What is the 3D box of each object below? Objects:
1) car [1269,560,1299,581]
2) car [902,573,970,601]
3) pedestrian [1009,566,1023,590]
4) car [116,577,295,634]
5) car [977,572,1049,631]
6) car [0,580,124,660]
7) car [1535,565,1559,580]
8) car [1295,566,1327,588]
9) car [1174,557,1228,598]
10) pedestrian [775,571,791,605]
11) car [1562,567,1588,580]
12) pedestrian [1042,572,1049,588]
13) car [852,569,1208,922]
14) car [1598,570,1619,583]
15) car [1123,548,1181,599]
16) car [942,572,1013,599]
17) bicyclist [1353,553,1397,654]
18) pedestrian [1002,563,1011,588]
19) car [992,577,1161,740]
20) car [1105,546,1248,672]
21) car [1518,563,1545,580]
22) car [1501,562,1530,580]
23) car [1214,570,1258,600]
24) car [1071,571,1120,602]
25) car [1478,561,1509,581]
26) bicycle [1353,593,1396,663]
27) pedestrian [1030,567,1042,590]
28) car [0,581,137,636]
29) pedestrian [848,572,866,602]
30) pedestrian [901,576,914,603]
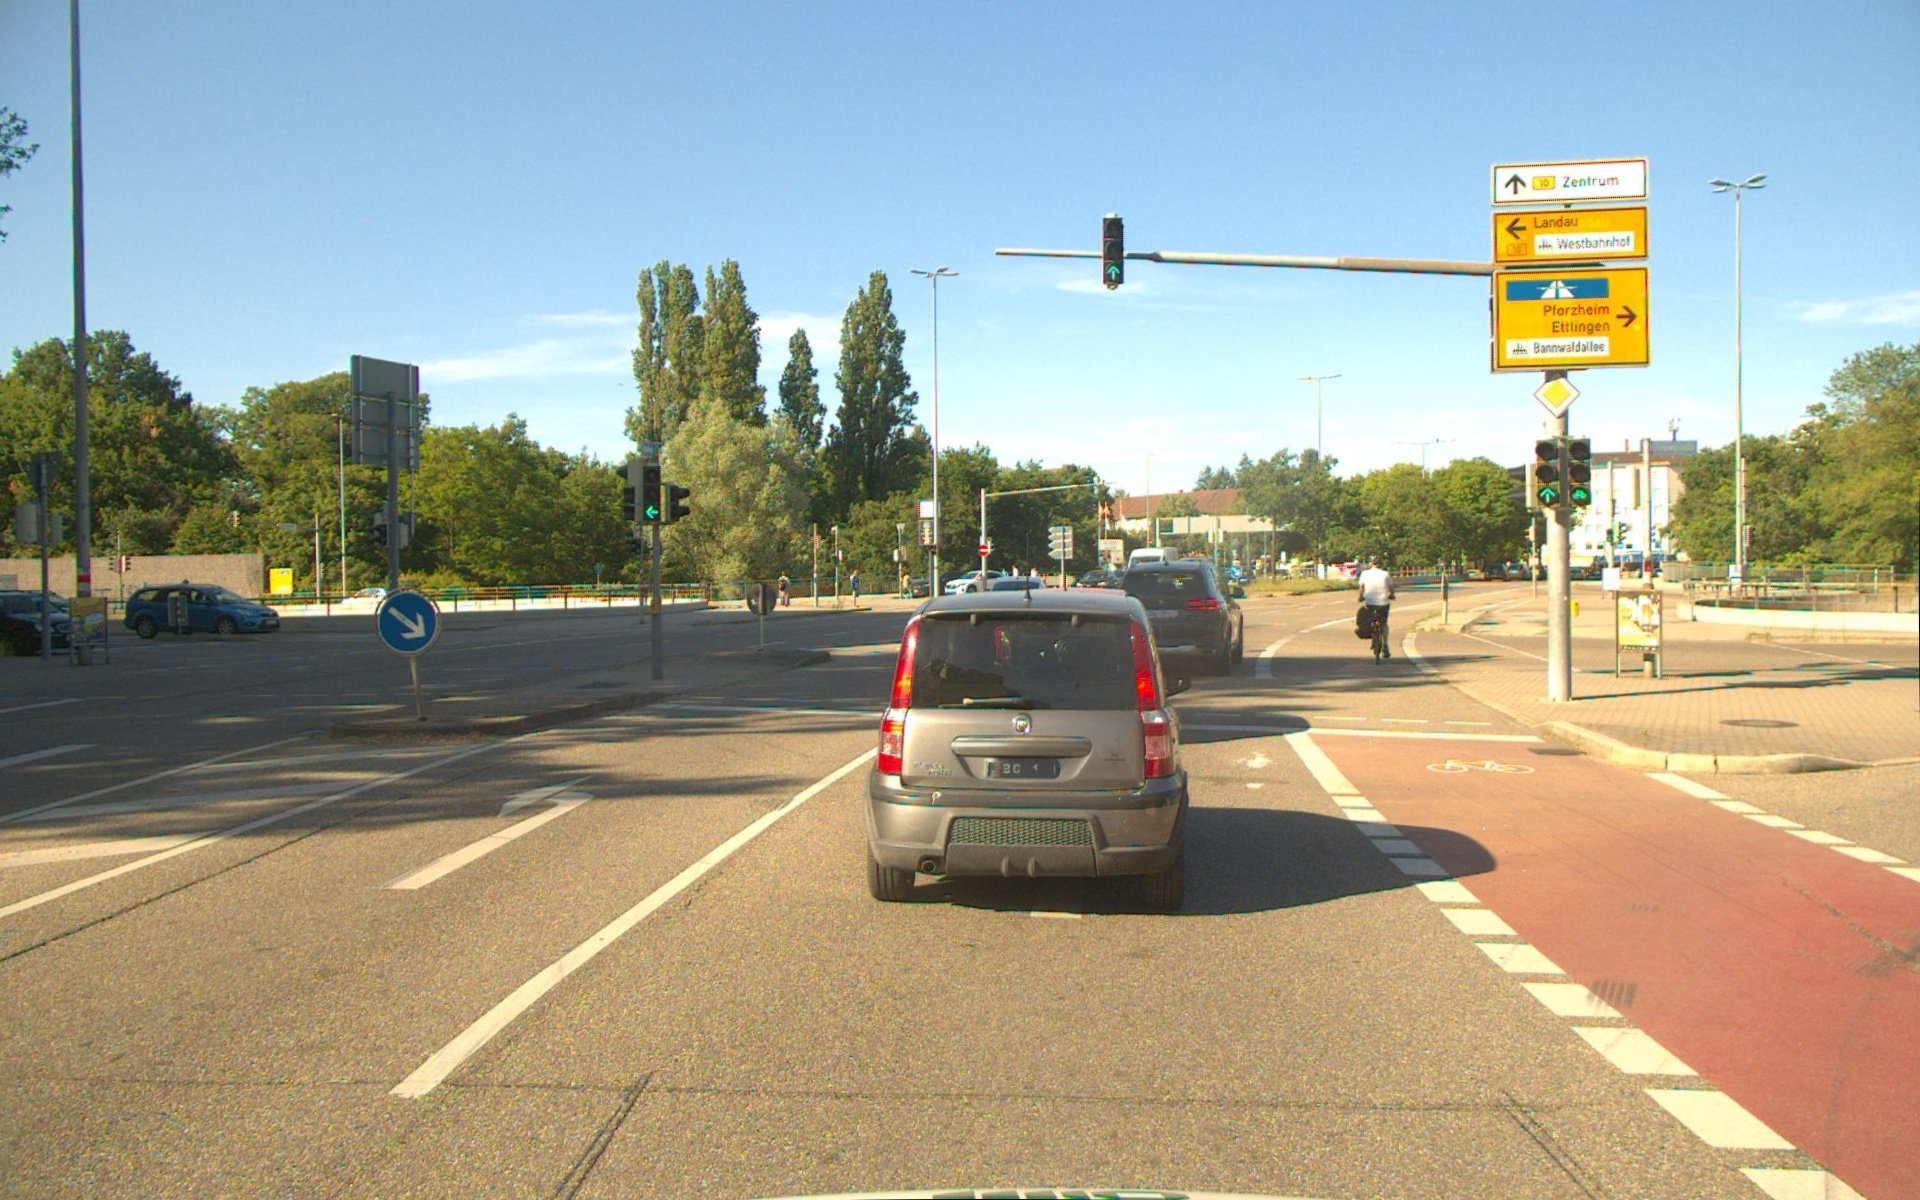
[{"bbox_3d":[30.969,-2.828,158.052,1.954,1.847,3.997,1,-1,25],"label":"car"},{"bbox_3d":[-1.455,-0.789,102.230,3.963,1.654,1.873,1,-1,-41],"label":"car"},{"bbox_3d":[4.011,-1.547,118.694,0.777,1.693,0.626,0,-1,41],"label":"pedestrian"},{"bbox_3d":[-21.702,0.138,47.657,4.348,1.567,1.953,0,1,11],"label":"car"},{"bbox_3d":[1.351,-0.004,43.577,1.744,1.439,4.319,-1,1,0],"label":"car"},{"bbox_3d":[-21.793,0.403,37.768,4.668,1.649,1.953,1,1,14],"label":"car"},{"bbox_3d":[61.445,-2.855,173.215,1.907,1.555,4.093,0,1,26],"label":"car"},{"bbox_3d":[27.988,-1.840,131.845,1.896,1.650,4.507,0,1,19],"label":"car"},{"bbox_3d":[12.496,-1.185,85.486,1.896,2.043,4.934,0,1,18],"label":"car"},{"bbox_3d":[-7.774,-0.538,72.774,0.666,1.488,0.702,-1,1,-8],"label":"pedestrian"},{"bbox_3d":[72.855,-3.151,195.874,1.912,1.555,4.084,0,1,35],"label":"car"},{"bbox_3d":[6.345,-1.480,123.212,0.415,1.156,0.397,1,-1,23],"label":"pedestrian"},{"bbox_3d":[0.527,0.618,9.411,1.583,1.542,3.823,2,1,7],"label":"car"},{"bbox_3d":[78.873,-2.902,201.143,1.907,1.555,4.093,0,1,27],"label":"car"},{"bbox_3d":[10.399,-1.441,89.080,1.896,2.621,6.092,0,1,18],"label":"car"},{"bbox_3d":[1.083,-0.903,100.199,4.294,1.562,1.757,-2,2,-43],"label":"car"},{"bbox_3d":[7.112,0.037,28.317,0.708,1.688,1.114,1,1,15],"label":"bicyclist"},{"bbox_3d":[3.337,-1.763,119.430,0.488,1.731,0.500,1,-1,23],"label":"pedestrian"},{"bbox_3d":[1.302,0.532,17.718,1.583,1.488,3.754,1,1,6],"label":"car"},{"bbox_3d":[3.597,0.099,26.928,1.904,1.872,4.157,0,1,13],"label":"car"},{"bbox_3d":[55.670,-2.775,161.096,1.907,1.555,4.093,0,1,27],"label":"car"},{"bbox_3d":[49.546,-2.623,147.514,1.907,1.555,4.094,0,1,26],"label":"car"},{"bbox_3d":[16.413,-0.908,98.280,1.896,1.650,4.508,0,1,18],"label":"car"},{"bbox_3d":[7.396,-0.753,90.185,1.895,1.534,4.003,-2,1,16],"label":"car"},{"bbox_3d":[43.225,-2.348,133.997,1.907,1.555,4.094,0,1,26],"label":"car"},{"bbox_3d":[7.120,0.468,28.381,0.676,1.121,1.828,1,1,15],"label":"bicycle"},{"bbox_3d":[5.659,-1.602,123.445,0.705,1.670,0.672,1,-1,23],"label":"pedestrian"},{"bbox_3d":[-26.824,0.246,48.784,4.349,1.567,1.953,0,1,14],"label":"car"},{"bbox_3d":[-5.590,-0.701,89.745,0.704,1.574,0.719,-1,-1,-36],"label":"pedestrian"},{"bbox_3d":[-3.006,-0.599,94.937,0.547,1.574,0.573,-1,0,-18],"label":"pedestrian"}]
